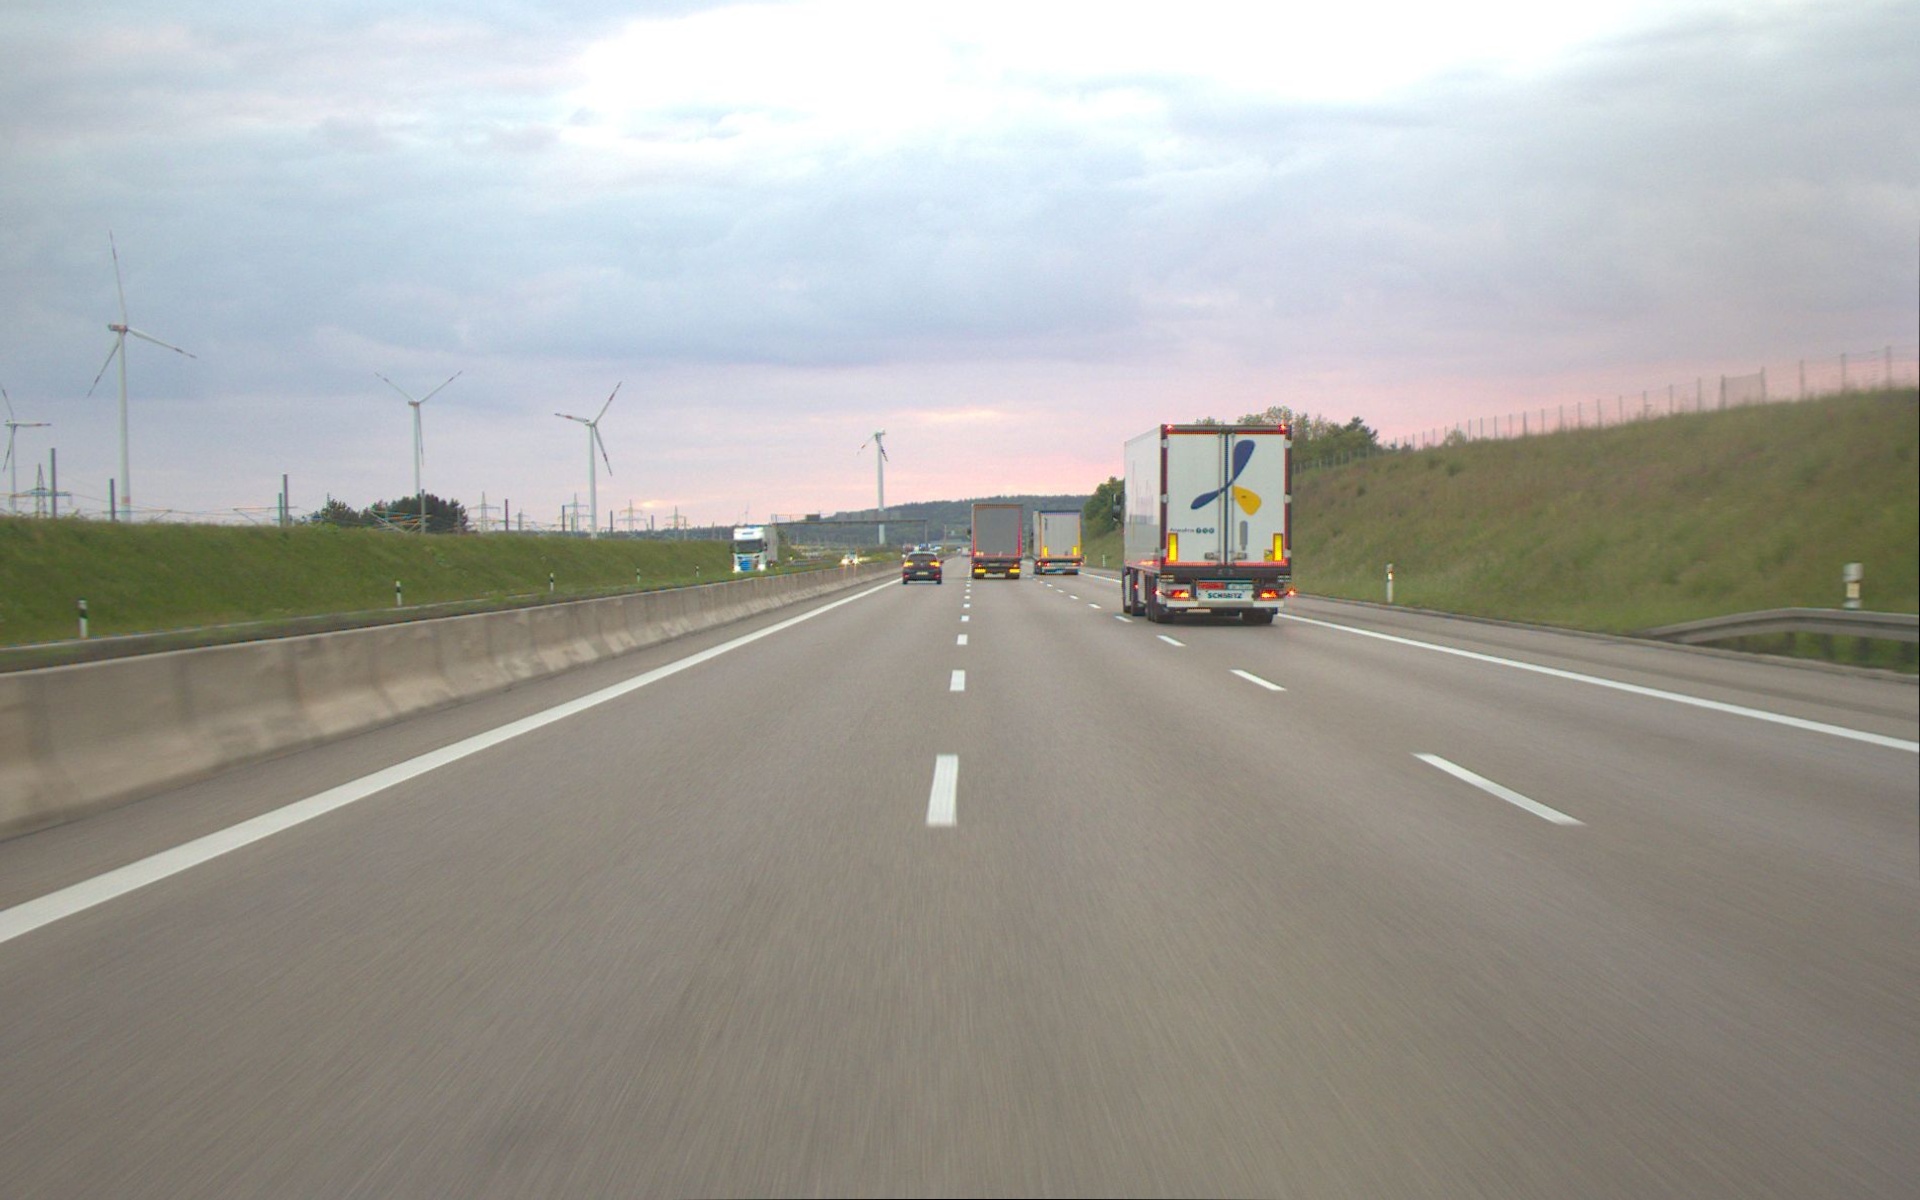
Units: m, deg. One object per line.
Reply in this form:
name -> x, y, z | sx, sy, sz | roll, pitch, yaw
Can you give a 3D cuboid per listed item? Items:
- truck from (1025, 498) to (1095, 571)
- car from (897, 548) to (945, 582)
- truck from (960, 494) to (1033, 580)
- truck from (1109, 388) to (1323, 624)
truck -> 6.240, -4.091, 216.210 | 3.966, 4.399, 8.636 | -1, 1, 0
car -> -1.741, -1.577, 154.106 | 1.988, 1.425, 4.000 | -1, 1, 1
truck -> 1.906, -3.337, 183.531 | 3.647, 4.399, 8.636 | -1, 1, 0
truck -> 5.277, -1.956, 73.041 | 3.675, 4.549, 10.981 | -1, 1, 0
